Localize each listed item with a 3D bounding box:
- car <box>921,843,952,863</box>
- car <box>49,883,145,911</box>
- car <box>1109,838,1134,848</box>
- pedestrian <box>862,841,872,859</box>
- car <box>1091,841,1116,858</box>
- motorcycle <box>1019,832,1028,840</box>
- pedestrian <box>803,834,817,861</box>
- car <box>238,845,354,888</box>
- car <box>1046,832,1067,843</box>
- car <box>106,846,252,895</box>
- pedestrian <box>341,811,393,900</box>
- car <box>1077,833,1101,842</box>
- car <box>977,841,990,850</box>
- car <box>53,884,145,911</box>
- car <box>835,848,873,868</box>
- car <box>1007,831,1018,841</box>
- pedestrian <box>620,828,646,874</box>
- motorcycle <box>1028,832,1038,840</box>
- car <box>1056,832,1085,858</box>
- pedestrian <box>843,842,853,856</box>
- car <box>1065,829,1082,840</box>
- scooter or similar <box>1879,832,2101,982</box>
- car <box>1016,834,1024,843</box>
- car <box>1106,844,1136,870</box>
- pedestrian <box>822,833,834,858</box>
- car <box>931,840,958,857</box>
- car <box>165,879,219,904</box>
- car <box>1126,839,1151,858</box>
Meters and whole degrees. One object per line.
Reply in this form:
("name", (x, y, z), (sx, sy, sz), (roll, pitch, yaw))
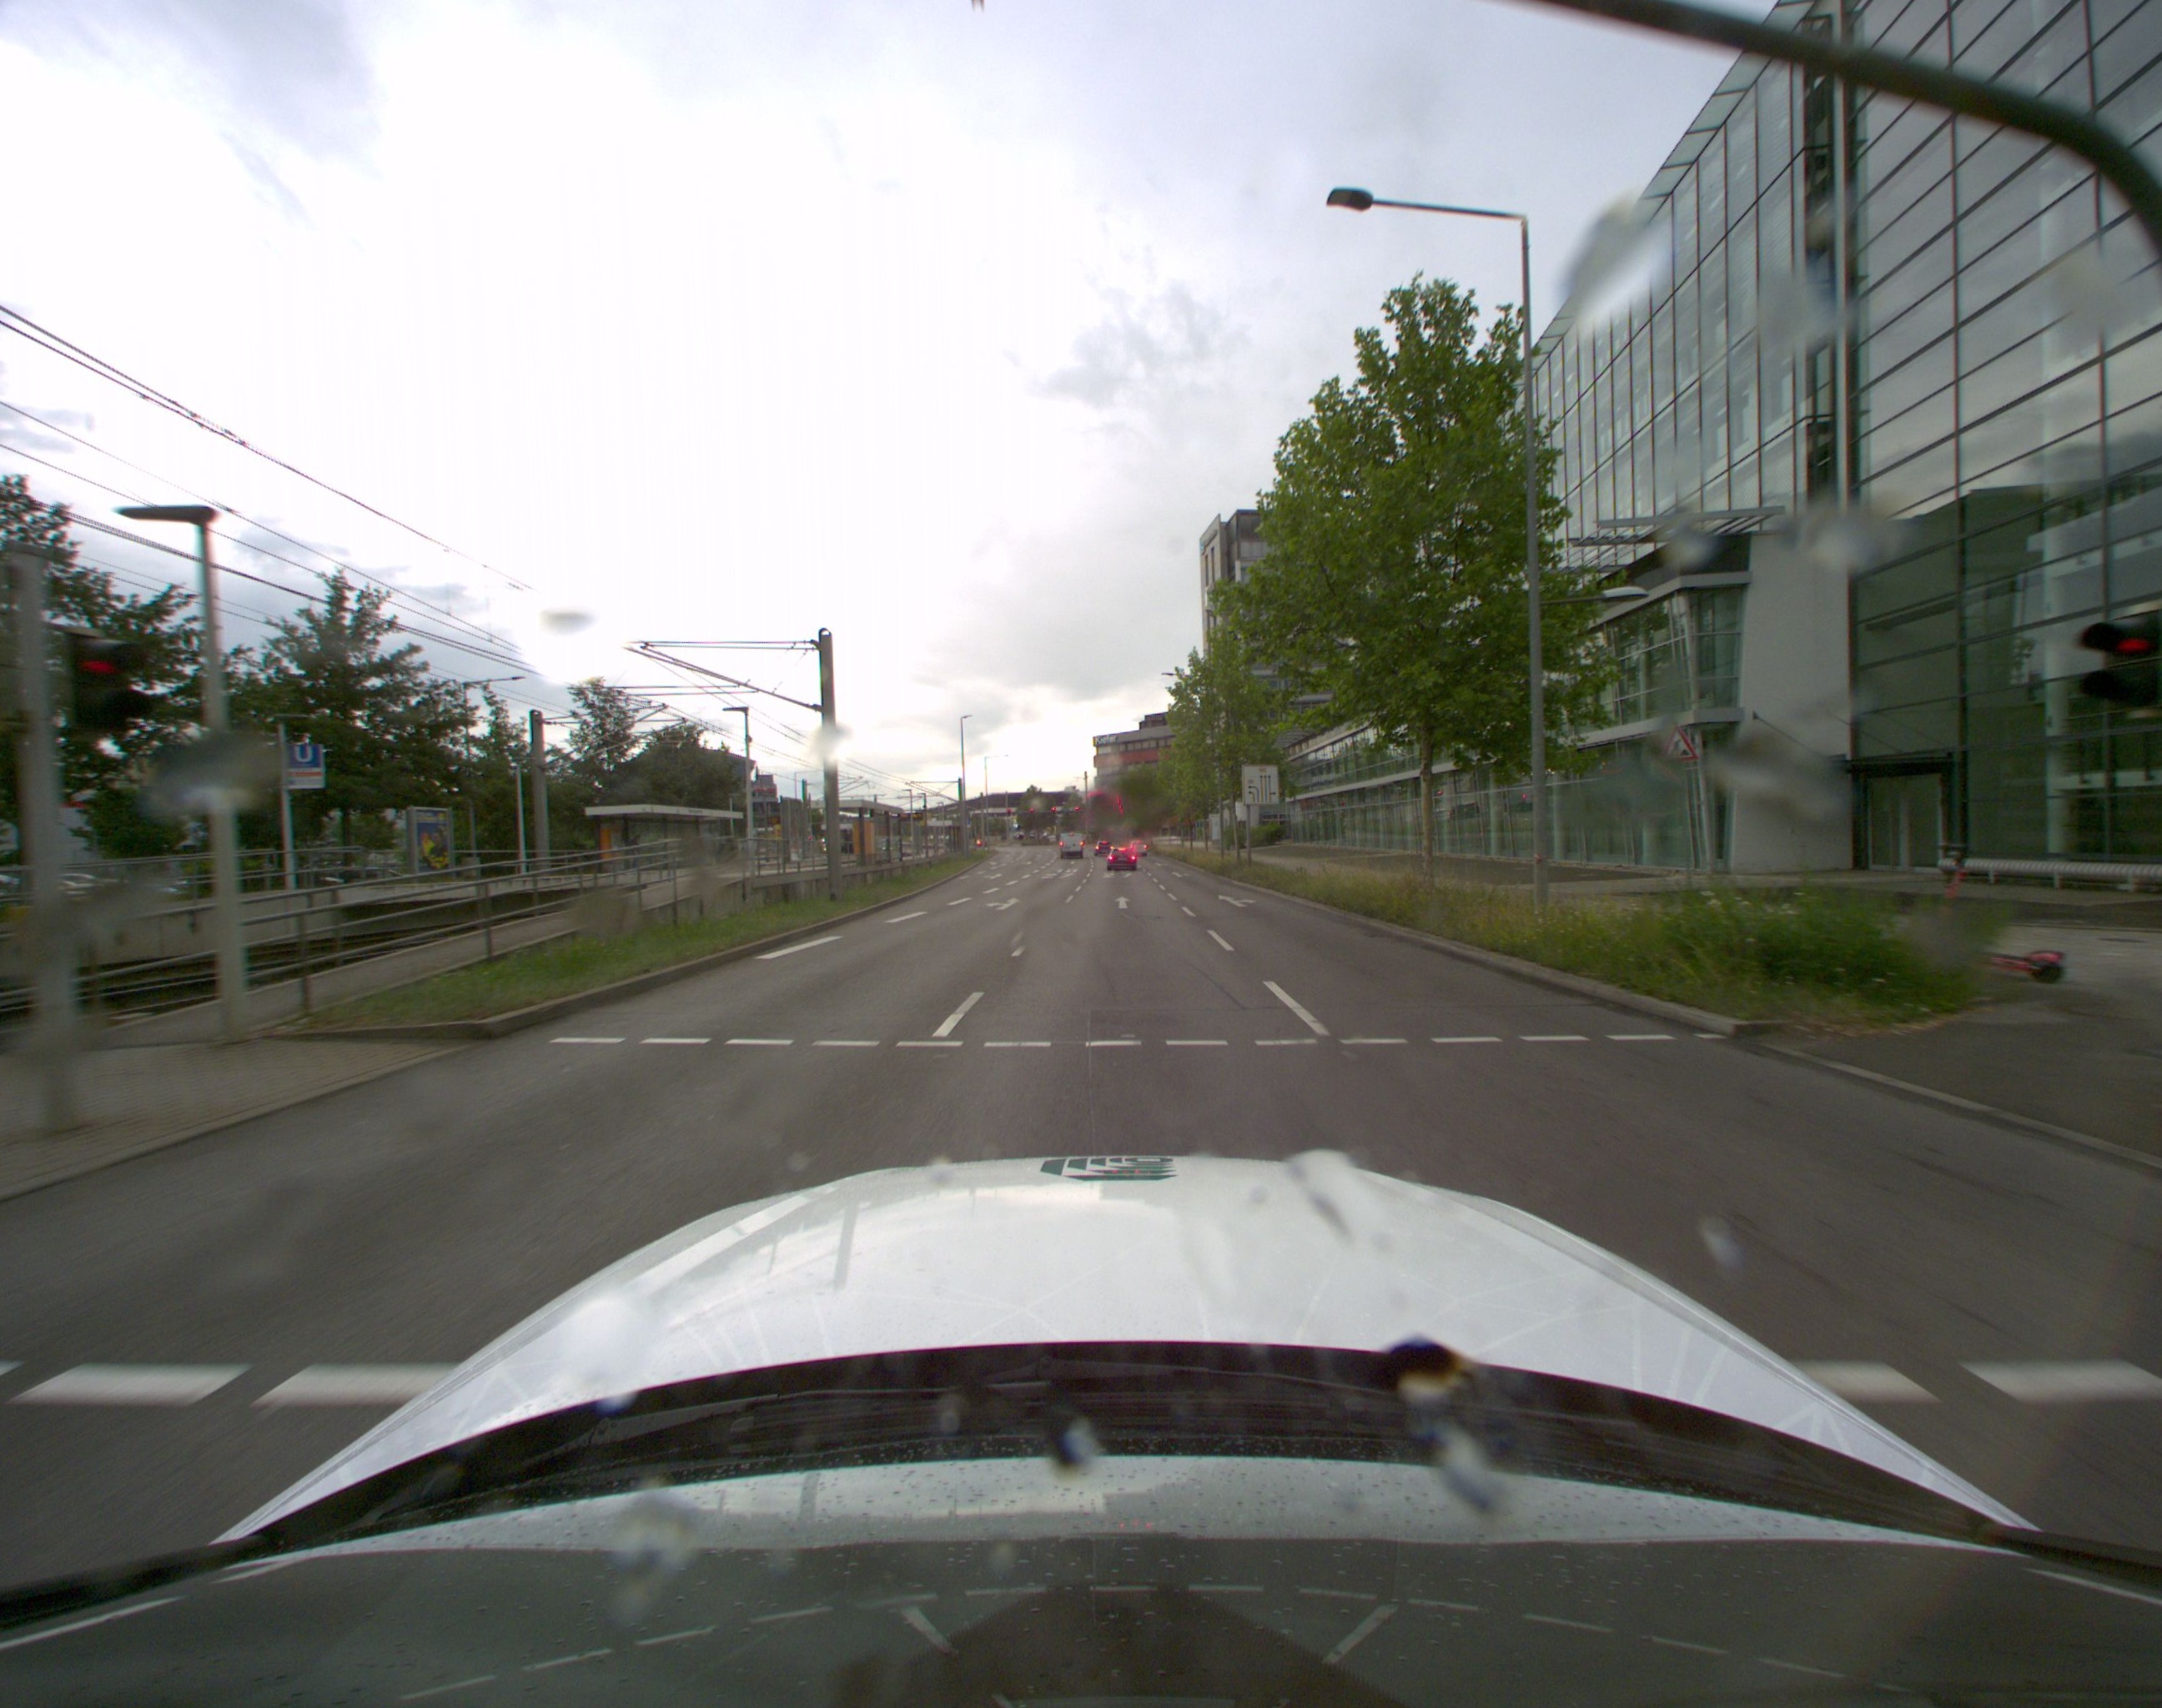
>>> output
("car", (-11.896, -0.091, 67.300), (1.989, 1.452, 3.845), (-1, 3, -3))
("car", (-72.438, 3.149, 60.029), (1.978, 2.014, 4.017), (-2, -2, 18))
("car", (7.082, -1.908, 143.419), (2.039, 1.623, 4.273), (-1, 0, -43))
("pedestrian", (-20.425, -0.383, 77.681), (0.750, 1.751, 0.763), (-1, -2, -2))
("car", (2.189, -0.458, 80.490), (2.017, 1.623, 3.994), (-1, 0, -4))
("motorcycle", (-15.873, -4.981, 223.839), (1.996, 2.014, 3.981), (0, -2, -13))
("pedestrian", (-20.867, -0.526, 62.692), (0.855, 2.014, 1.037), (0, -3, -12))
("car", (-40.262, 0.582, 41.917), (1.987, 2.013, 4.000), (-1, 1, 0))
("car", (-4.793, -3.257, 157.158), (2.011, 2.014, 3.951), (1, -1, -43))
("car", (-40.356, 0.676, 36.589), (1.987, 2.013, 4.000), (-1, 2, 0))
("pedestrian", (-16.044, 0.039, 18.311), (0.548, 1.953, 0.662), (-1, -2, -7))
("car", (1.438, -2.983, 147.990), (2.039, 1.623, 3.951), (-1, 0, -43))
("car", (-18.318, -1.546, 153.299), (2.022, 1.623, 3.984), (-1, 0, -12))
("car", (-75.722, 3.321, 62.855), (1.978, 2.014, 4.017), (-2, -2, 18))
("car", (-16.119, 0.264, 57.983), (1.854, 1.336, 3.331), (-1, 2, -3))
("car", (-15.530, -4.172, 184.704), (1.996, 2.014, 3.981), (-1, -2, -14))
("pedestrian", (-18.378, -0.121, 33.415), (0.636, 1.854, 0.750), (-1, -2, -3))
("motorcycle", (-13.179, -4.995, 224.576), (1.996, 2.014, 3.981), (0, -2, -13))
("car", (-0.993, -0.818, 74.237), (2.504, 2.177, 5.147), (-1, 0, -1))
("pedestrian", (-21.230, -0.446, 74.311), (0.725, 1.253, 0.730), (-1, -1, -4))
("car", (-1.685, -4.318, 180.331), (2.005, 2.014, 3.964), (0, -3, -27))
("scooter or similar", (8.503, 0.465, 7.694), (0.457, 1.263, 1.334), (-4, 0, -6))
("car", (-15.112, -3.793, 201.091), (1.817, 2.014, 3.461), (-1, -2, -8))
("car", (2.512, 0.159, 50.652), (1.756, 1.463, 4.632), (0, 1, 4))
("pedestrian", (-20.968, -0.691, 67.497), (0.686, 2.080, 0.715), (-1, 1, 2))
("car", (-12.431, -0.456, 74.348), (1.989, 1.453, 3.843), (-1, -1, -3))
("car", (-75.813, 3.207, 69.456), (3.950, 2.014, 2.011), (-2, -3, 26))
("car", (5.548, -0.600, 79.178), (2.016, 1.769, 3.997), (-1, 1, -2))
